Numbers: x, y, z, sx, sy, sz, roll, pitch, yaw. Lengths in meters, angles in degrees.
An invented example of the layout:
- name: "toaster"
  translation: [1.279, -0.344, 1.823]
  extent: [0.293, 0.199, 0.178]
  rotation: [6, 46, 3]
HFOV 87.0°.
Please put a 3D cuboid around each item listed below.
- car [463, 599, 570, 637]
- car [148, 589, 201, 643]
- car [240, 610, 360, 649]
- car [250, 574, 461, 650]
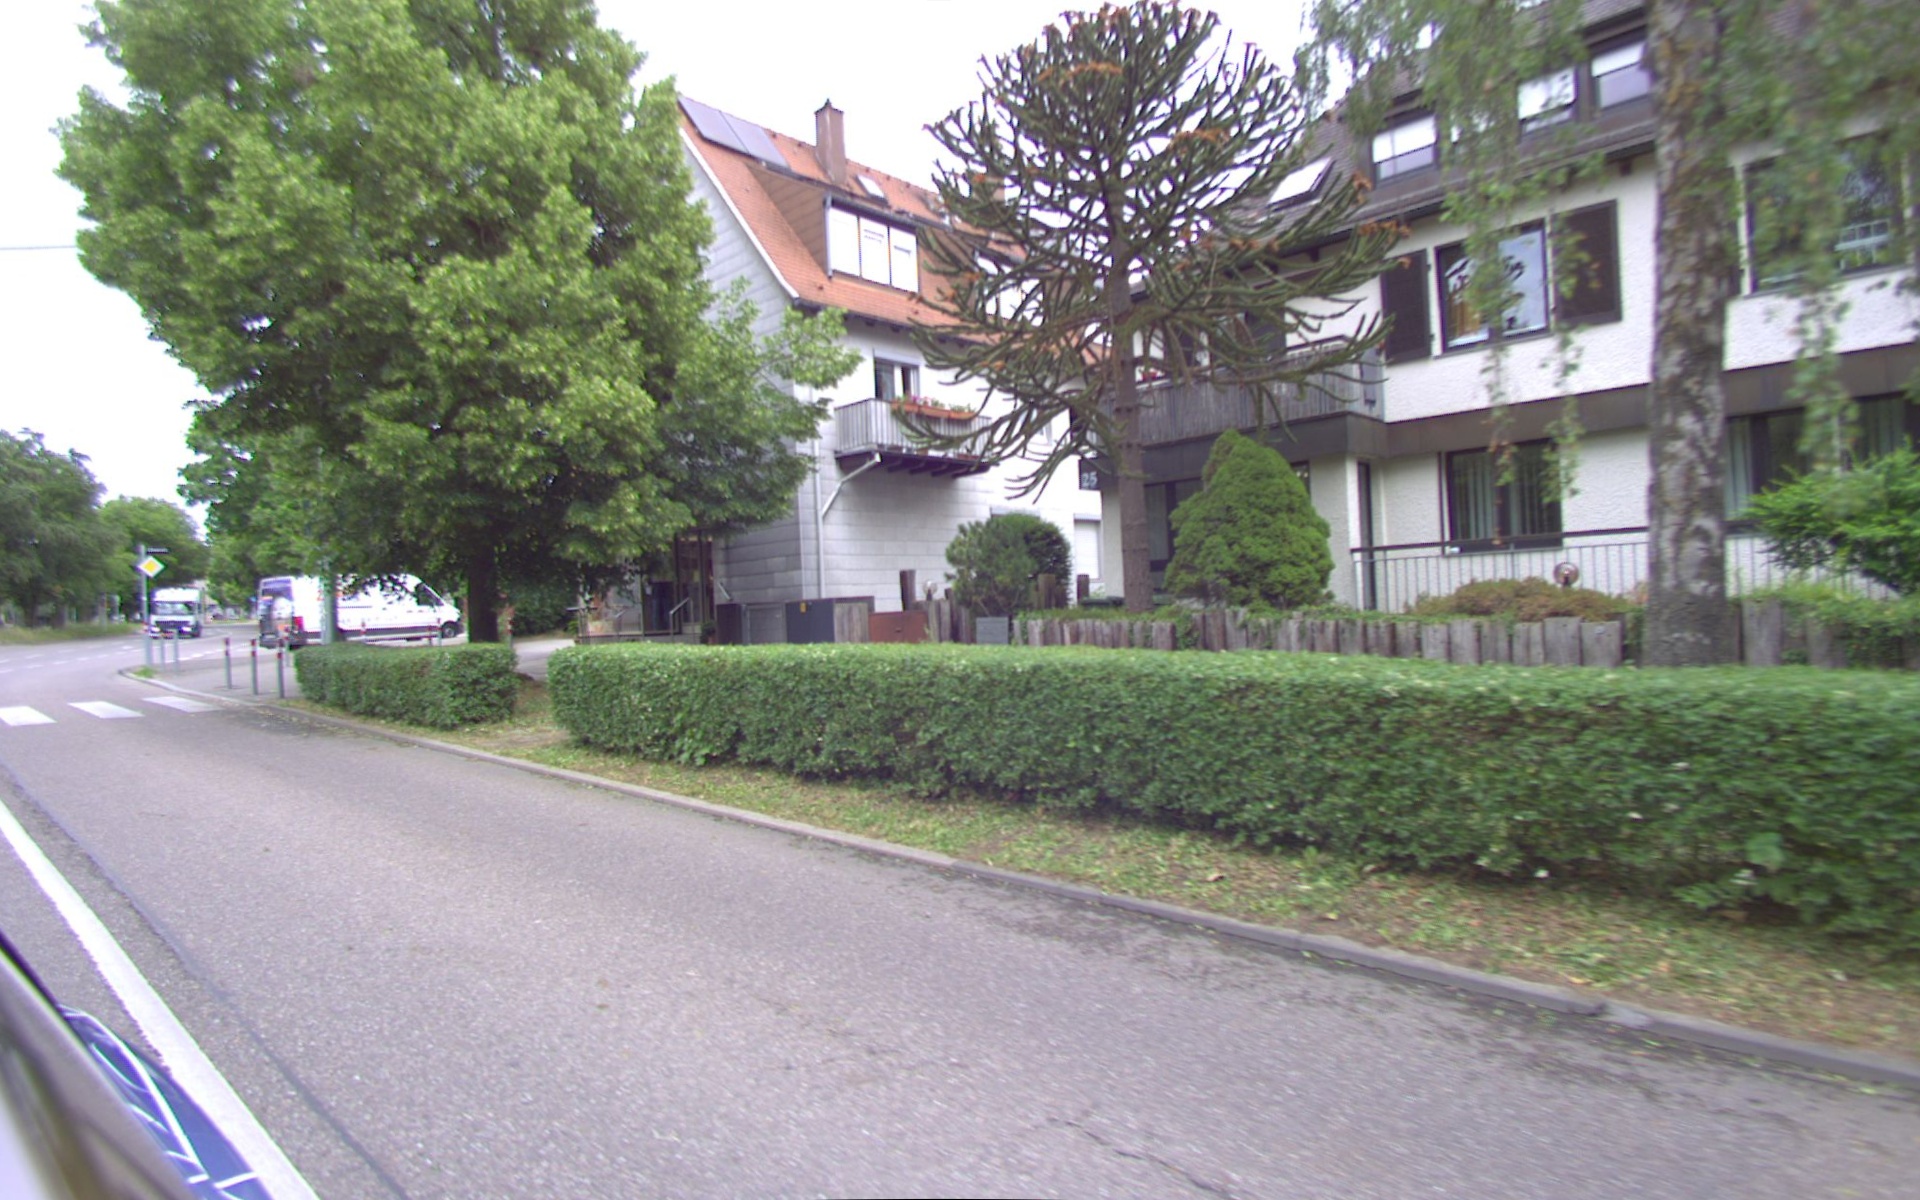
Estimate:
- name: "car"
  translation: [-19.491, 0.765, 44.629]
  extent: [1.796, 1.521, 3.953]
  rotation: [-1, 0, 35]
- name: "car"
  translation: [-51.620, 0.995, 66.646]
  extent: [2.397, 3.300, 7.810]
  rotation: [-1, 0, -36]
- name: "car"
  translation: [-28.451, 1.238, 43.708]
  extent: [1.796, 1.521, 3.953]
  rotation: [-1, 0, 35]
- name: "car"
  translation: [-20.513, 0.366, 34.766]
  extent: [1.963, 2.365, 6.324]
  rotation: [-2, 0, 22]
